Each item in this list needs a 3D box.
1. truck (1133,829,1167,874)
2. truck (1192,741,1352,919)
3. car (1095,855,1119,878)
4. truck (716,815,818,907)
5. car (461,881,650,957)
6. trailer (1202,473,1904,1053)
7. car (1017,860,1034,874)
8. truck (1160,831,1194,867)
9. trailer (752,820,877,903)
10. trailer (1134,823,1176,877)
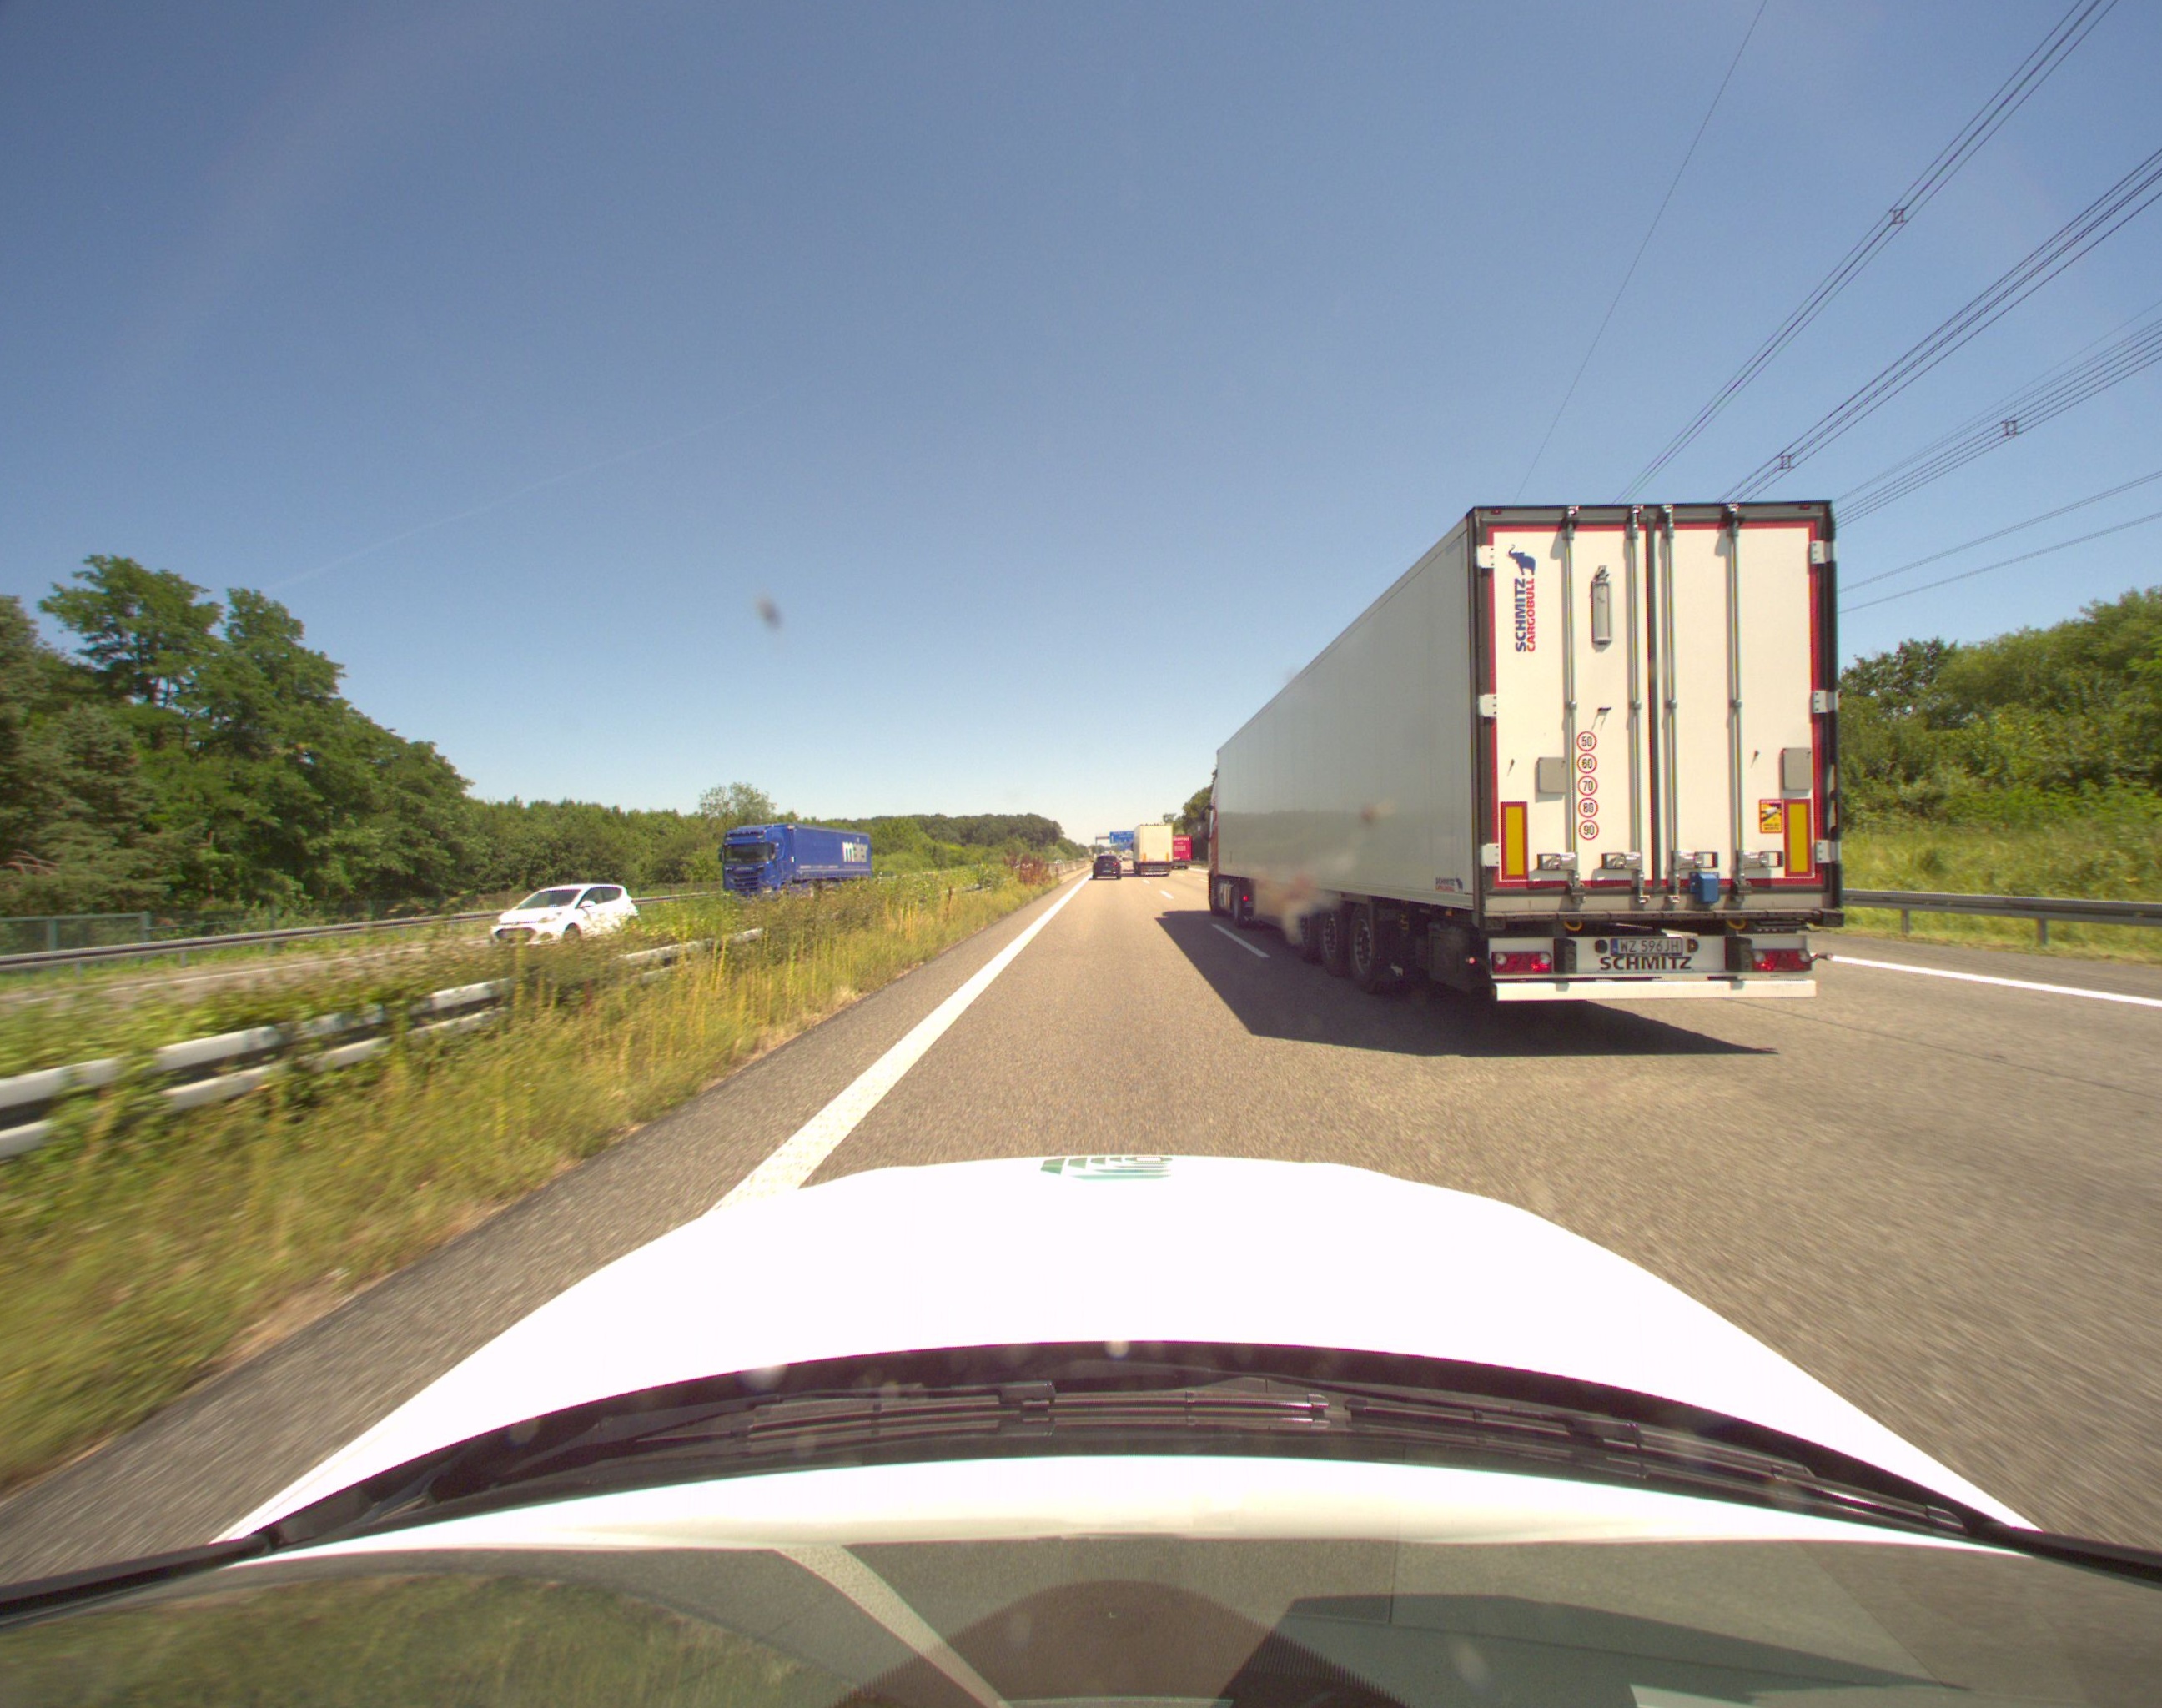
[{"bbox_3d":[6.372,-0.208,75.898,2.789,4.007,6.024,-1,0,2],"label":"truck"},{"bbox_3d":[4.702,-0.522,21.371,2.930,3.986,6.103,0,-1,2],"label":"truck"},{"bbox_3d":[1.824,0.877,56.950,1.654,1.549,3.785,-1,0,2],"label":"car"},{"bbox_3d":[-15.655,0.356,41.042,2.457,4.133,5.686,-4,0,2],"label":"truck"},{"bbox_3d":[-12.477,1.481,19.689,1.800,1.449,4.002,-3,0,2],"label":"car"},{"bbox_3d":[4.465,-0.575,13.762,2.926,4.018,16.206,0,0,2],"label":"trailer"},{"bbox_3d":[-8.648,2.074,127.592,1.986,2.013,4.941,-4,-1,2],"label":"car"},{"bbox_3d":[11.702,-0.520,100.851,3.044,4.106,13.223,0,0,2],"label":"truck"},{"bbox_3d":[-15.434,0.418,48.723,2.463,4.131,13.470,-4,0,1],"label":"trailer"},{"bbox_3d":[6.004,-0.249,67.773,2.784,4.035,12.574,-1,0,2],"label":"trailer"}]
